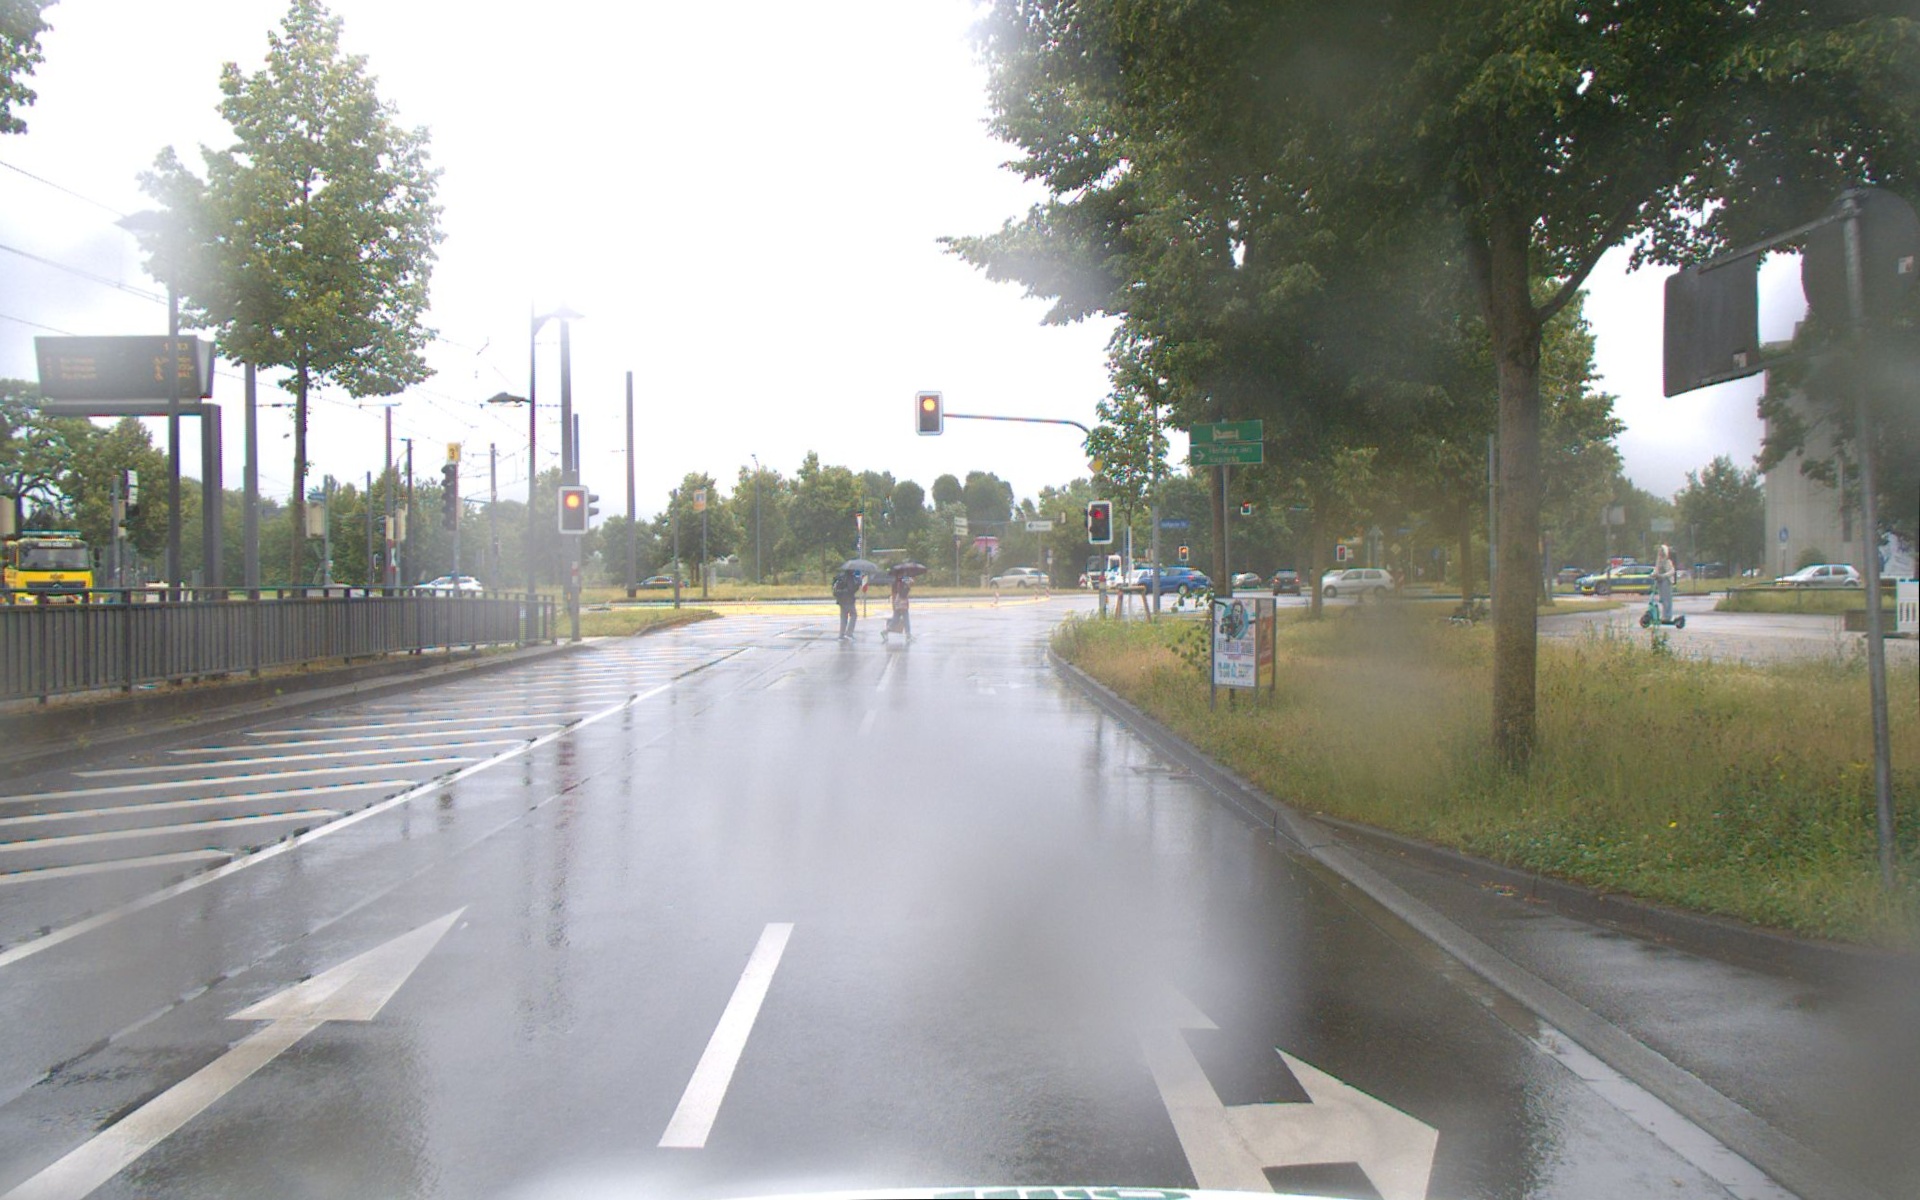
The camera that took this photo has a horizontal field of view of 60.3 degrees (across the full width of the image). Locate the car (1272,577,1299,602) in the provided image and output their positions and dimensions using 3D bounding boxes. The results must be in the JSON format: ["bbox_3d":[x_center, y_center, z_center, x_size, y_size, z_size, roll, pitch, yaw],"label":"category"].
[{"bbox_3d":[19.833,-0.673,100.745,1.583,1.479,3.991,0,1,12],"label":"car"}]

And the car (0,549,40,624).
[{"bbox_3d":[-51.323,-0.786,82.584,2.397,3.786,10.968,-2,-2,16],"label":"car"}]

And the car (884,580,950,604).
[{"bbox_3d":[-2.744,-0.505,104.991,3.897,1.479,1.622,0,1,27],"label":"car"}]

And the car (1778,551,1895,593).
[{"bbox_3d":[43.404,-1.394,81.981,4.659,1.883,2.002,2,0,9],"label":"car"}]

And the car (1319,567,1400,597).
[{"bbox_3d":[20.096,-0.926,83.093,3.890,1.479,1.624,0,1,17],"label":"car"}]

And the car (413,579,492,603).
[{"bbox_3d":[-31.772,-0.562,103.635,4.551,1.479,1.610,-1,1,-26],"label":"car"}]

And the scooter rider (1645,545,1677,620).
[{"bbox_3d":[16.505,-0.411,38.940,0.521,1.739,0.433,-1,0,-6],"label":"scooter rider"}]

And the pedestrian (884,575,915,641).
[{"bbox_3d":[-1.379,0.177,37.552,0.666,1.486,0.573,-1,0,-4],"label":"pedestrian"}]

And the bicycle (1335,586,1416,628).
[{"bbox_3d":[8.558,0.138,34.098,0.376,0.800,1.838,2,0,-33],"label":"bicycle"}]

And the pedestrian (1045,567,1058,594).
[{"bbox_3d":[4.657,-0.992,84.136,0.445,1.327,0.483,0,1,39],"label":"pedestrian"}]

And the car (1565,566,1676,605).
[{"bbox_3d":[32.604,-0.706,81.719,4.665,1.883,1.999,0,1,-3],"label":"car"}]

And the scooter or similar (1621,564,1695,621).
[{"bbox_3d":[16.427,-0.164,38.943,1.555,1.281,0.447,2,0,-6],"label":"scooter or similar"}]

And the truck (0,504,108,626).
[{"bbox_3d":[-32.192,-1.197,56.769,2.675,3.843,9.034,2,0,-44],"label":"truck"}]

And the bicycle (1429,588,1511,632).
[{"bbox_3d":[9.673,0.174,31.420,0.445,0.800,2.000,2,0,-16],"label":"bicycle"}]

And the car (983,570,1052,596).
[{"bbox_3d":[3.368,-0.992,97.378,4.040,1.479,1.614,1,1,42],"label":"car"}]

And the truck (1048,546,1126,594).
[{"bbox_3d":[8.020,-1.851,103.594,2.411,2.733,8.057,2,0,23],"label":"truck"}]

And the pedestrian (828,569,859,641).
[{"bbox_3d":[-2.570,0.103,36.394,0.608,1.549,0.741,1,1,-1],"label":"pedestrian"}]

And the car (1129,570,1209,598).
[{"bbox_3d":[10.911,-0.847,86.581,3.909,1.479,1.617,1,1,37],"label":"car"}]
